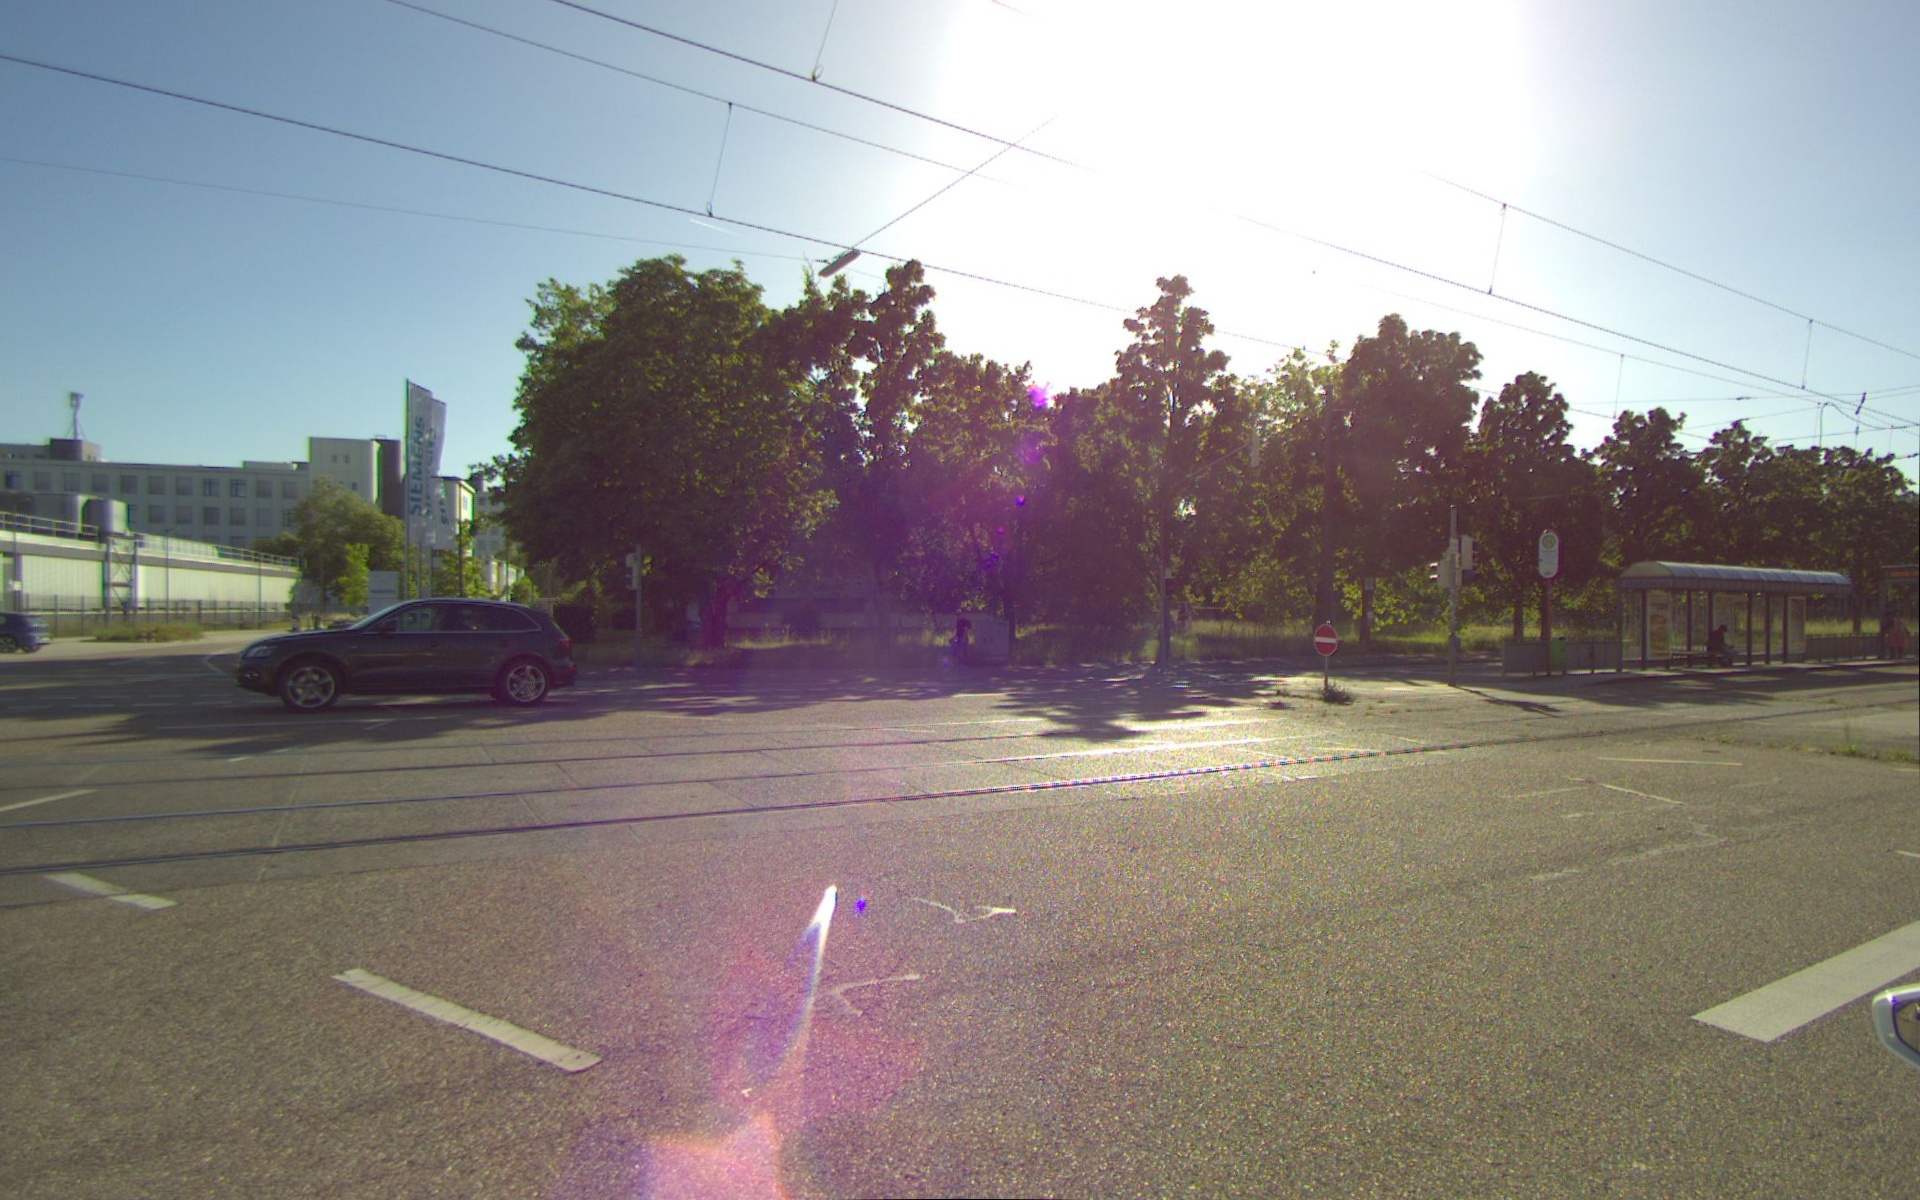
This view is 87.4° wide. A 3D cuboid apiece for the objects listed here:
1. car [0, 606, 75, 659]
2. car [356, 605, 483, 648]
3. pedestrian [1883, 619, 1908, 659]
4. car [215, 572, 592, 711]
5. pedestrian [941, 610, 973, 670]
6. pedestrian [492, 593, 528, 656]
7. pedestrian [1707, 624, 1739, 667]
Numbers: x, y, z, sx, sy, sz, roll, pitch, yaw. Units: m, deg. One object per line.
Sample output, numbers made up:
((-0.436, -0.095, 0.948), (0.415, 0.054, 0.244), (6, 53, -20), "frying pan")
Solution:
((-35.181, 1.108, 35.607), (5.210, 1.772, 2.164), (2, 0, -19), "car")
((-24.340, 1.194, 45.447), (4.768, 1.751, 2.041), (2, 0, -22), "car")
((34.918, 1.444, 37.491), (0.553, 1.467, 0.542), (2, -1, -30), "pedestrian")
((-8.351, 0.645, 15.416), (4.740, 1.834, 2.082), (2, -3, -33), "car")
((-0.091, 1.168, 29.787), (0.919, 1.757, 0.761), (1, 0, -2), "pedestrian")
((-13.028, 0.706, 29.106), (0.807, 1.811, 0.950), (1, 0, -16), "pedestrian")
((22.693, 1.356, 29.865), (0.574, 1.273, 0.561), (2, -3, -31), "pedestrian")
